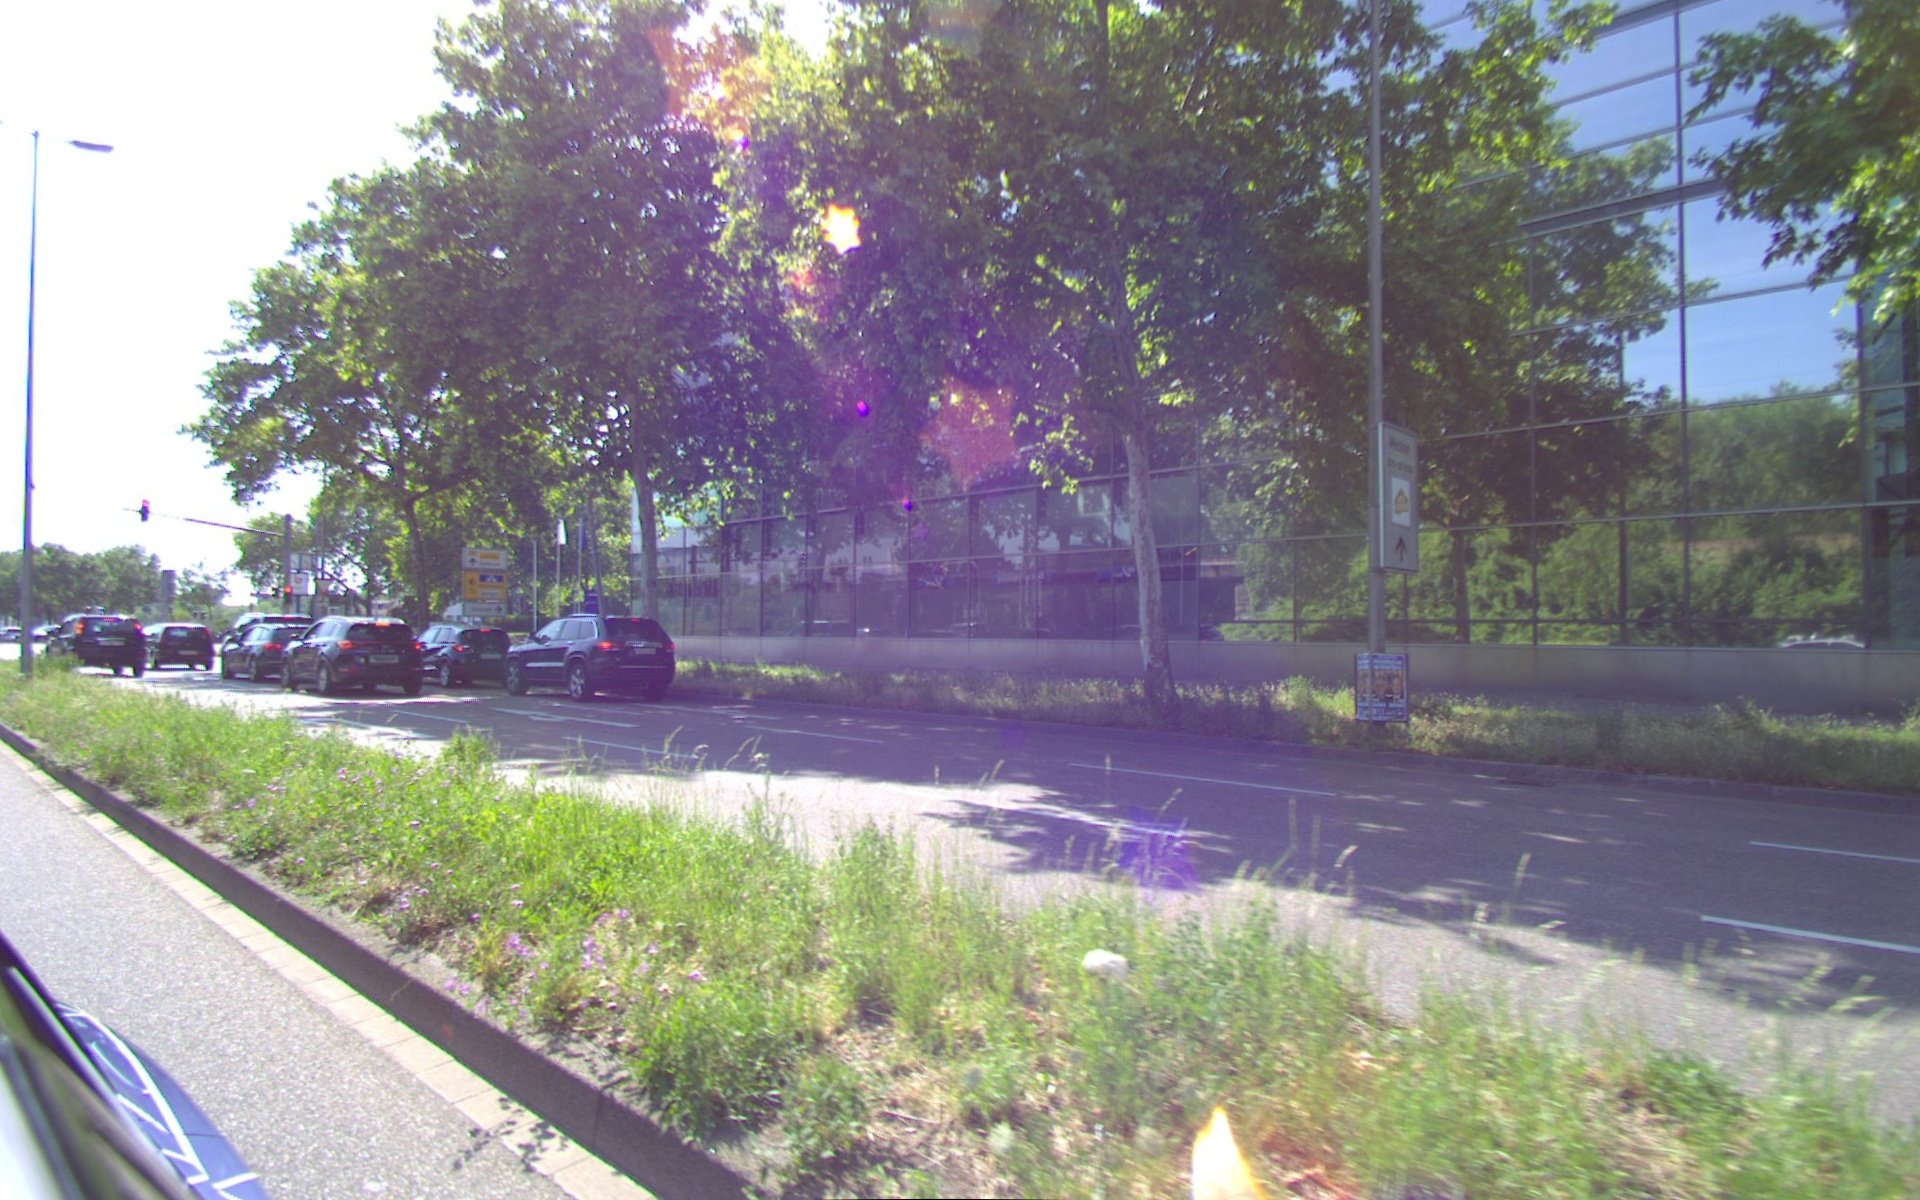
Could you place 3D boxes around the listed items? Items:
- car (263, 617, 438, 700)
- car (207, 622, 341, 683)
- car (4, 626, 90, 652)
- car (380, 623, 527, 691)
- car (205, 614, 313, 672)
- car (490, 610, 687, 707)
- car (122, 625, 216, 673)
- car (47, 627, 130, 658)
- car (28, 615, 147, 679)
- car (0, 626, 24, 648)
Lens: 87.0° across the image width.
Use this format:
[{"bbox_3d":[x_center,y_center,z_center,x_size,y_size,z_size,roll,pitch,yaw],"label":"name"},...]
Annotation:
[{"bbox_3d":[-13.378,1.244,22.106,4.493,1.623,1.973,-2,-4,41],"label":"car"},{"bbox_3d":[-18.101,1.355,26.613,4.515,1.473,1.816,-1,-5,42],"label":"car"},{"bbox_3d":[-59.490,2.543,66.036,1.752,1.641,3.989,0,-2,8],"label":"car"},{"bbox_3d":[-13.143,1.439,26.147,4.444,1.603,1.867,-1,-4,42],"label":"car"},{"bbox_3d":[-25.146,1.509,36.233,5.225,1.934,1.918,-2,-3,41],"label":"car"},{"bbox_3d":[-8.037,1.221,21.694,4.649,1.849,1.973,-2,-4,41],"label":"car"},{"bbox_3d":[-26.365,1.612,33.696,3.955,1.487,1.743,-2,-3,41],"label":"car"},{"bbox_3d":[-51.457,2.478,59.857,1.966,1.722,4.443,0,-2,-15],"label":"car"},{"bbox_3d":[-24.294,1.295,28.138,4.487,1.628,1.789,-2,-3,40],"label":"car"},{"bbox_3d":[-84.942,3.279,89.497,5.149,1.737,1.977,-4,-3,33],"label":"car"}]
